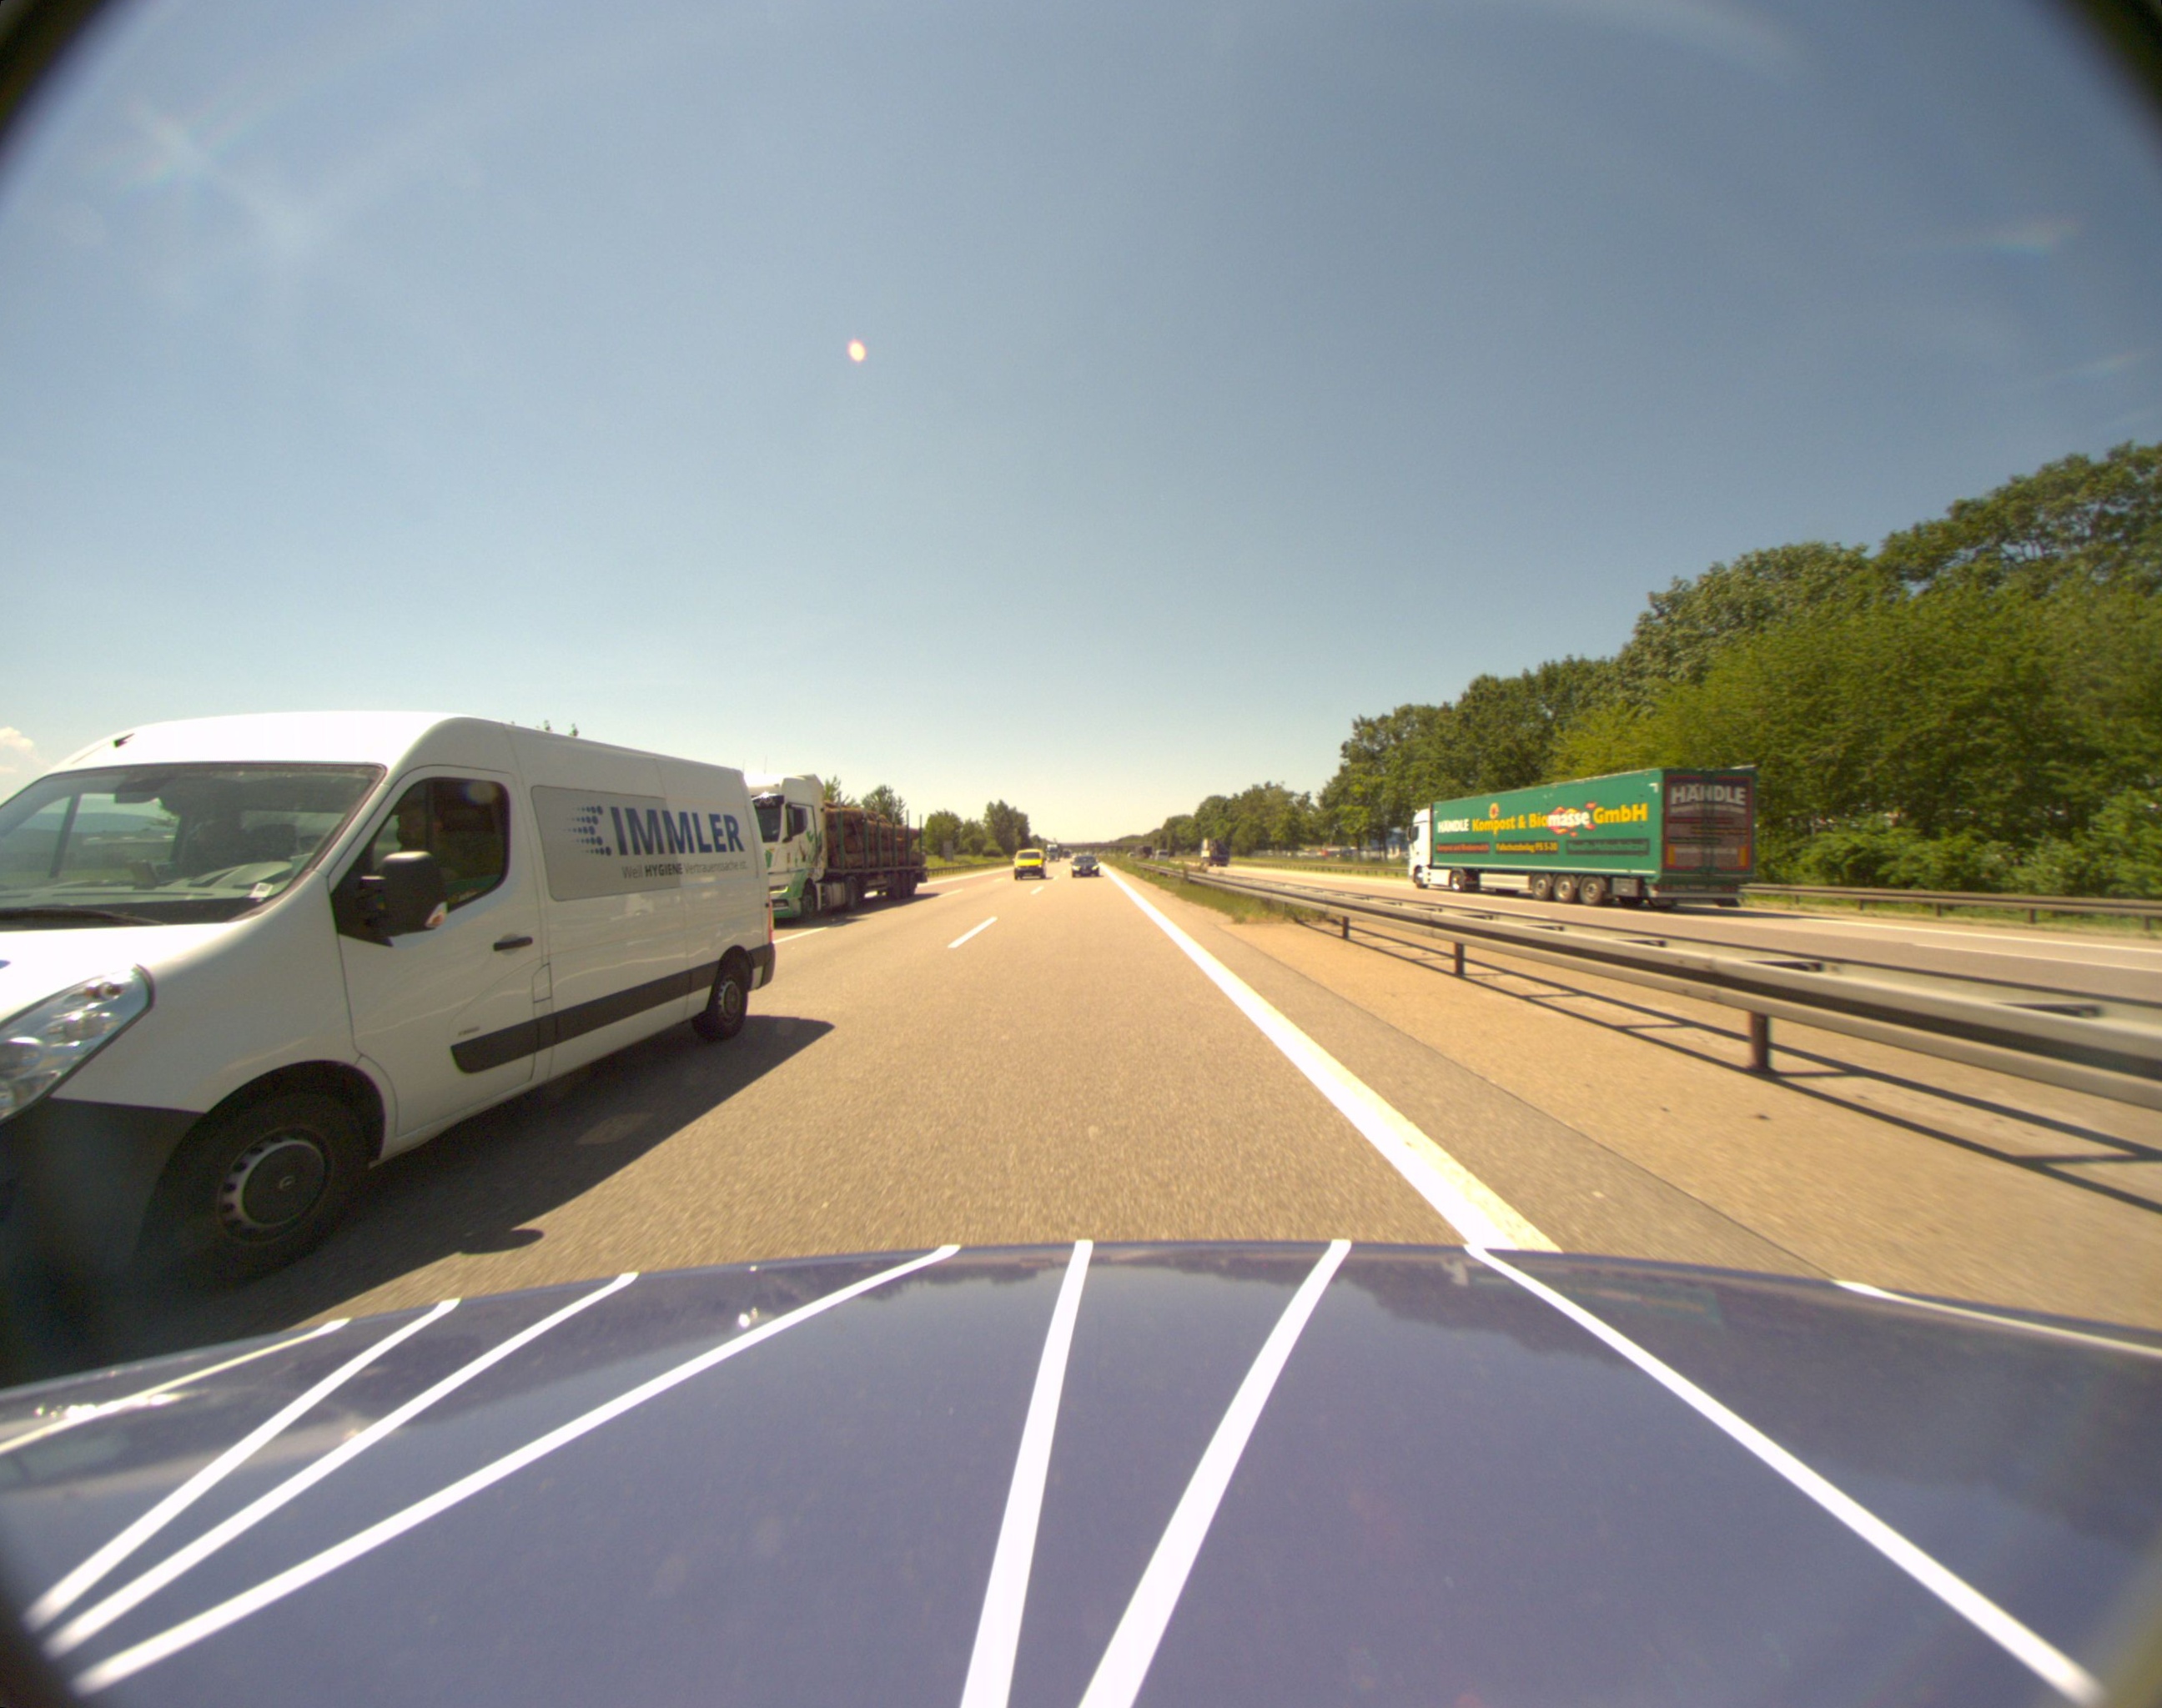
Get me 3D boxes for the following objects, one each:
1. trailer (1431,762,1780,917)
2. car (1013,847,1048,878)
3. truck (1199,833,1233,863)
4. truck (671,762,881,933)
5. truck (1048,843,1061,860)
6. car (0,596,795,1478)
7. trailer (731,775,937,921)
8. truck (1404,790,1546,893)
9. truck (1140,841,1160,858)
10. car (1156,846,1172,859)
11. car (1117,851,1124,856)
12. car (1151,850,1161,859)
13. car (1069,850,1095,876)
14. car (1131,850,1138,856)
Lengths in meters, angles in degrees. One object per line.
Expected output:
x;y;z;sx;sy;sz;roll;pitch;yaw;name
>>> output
16.987;-0.457;26.904;2.884;4.020;13.678;2;1;1;trailer
-3.321;0.531;50.371;1.958;1.939;3.999;-2;1;1;car
18.211;-0.815;102.889;3.012;3.769;9.600;0;1;0;truck
-8.196;-0.163;21.761;2.700;3.943;7.703;-2;0;1;truck
-6.205;-0.628;178.967;2.976;3.626;7.148;-2;1;-1;truck
-4.123;0.513;4.896;2.159;2.494;5.945;-2;1;1;car
-8.132;-0.198;27.929;2.700;3.943;13.960;-2;0;1;trailer
17.043;-0.531;33.476;2.884;4.020;6.331;2;1;1;truck
19.853;-1.398;218.732;4.429;4.580;11.978;-2;1;0;truck
14.681;-0.225;134.644;2.318;2.275;5.603;1;0;1;car
11.933;-0.129;229.181;1.693;1.503;3.879;-2;1;5;car
15.174;0.041;153.602;1.916;1.695;3.781;1;0;3;car
0.087;0.569;51.444;1.690;1.646;3.461;-2;1;1;car
15.656;-0.277;221.828;1.682;1.645;3.850;-2;1;1;car
